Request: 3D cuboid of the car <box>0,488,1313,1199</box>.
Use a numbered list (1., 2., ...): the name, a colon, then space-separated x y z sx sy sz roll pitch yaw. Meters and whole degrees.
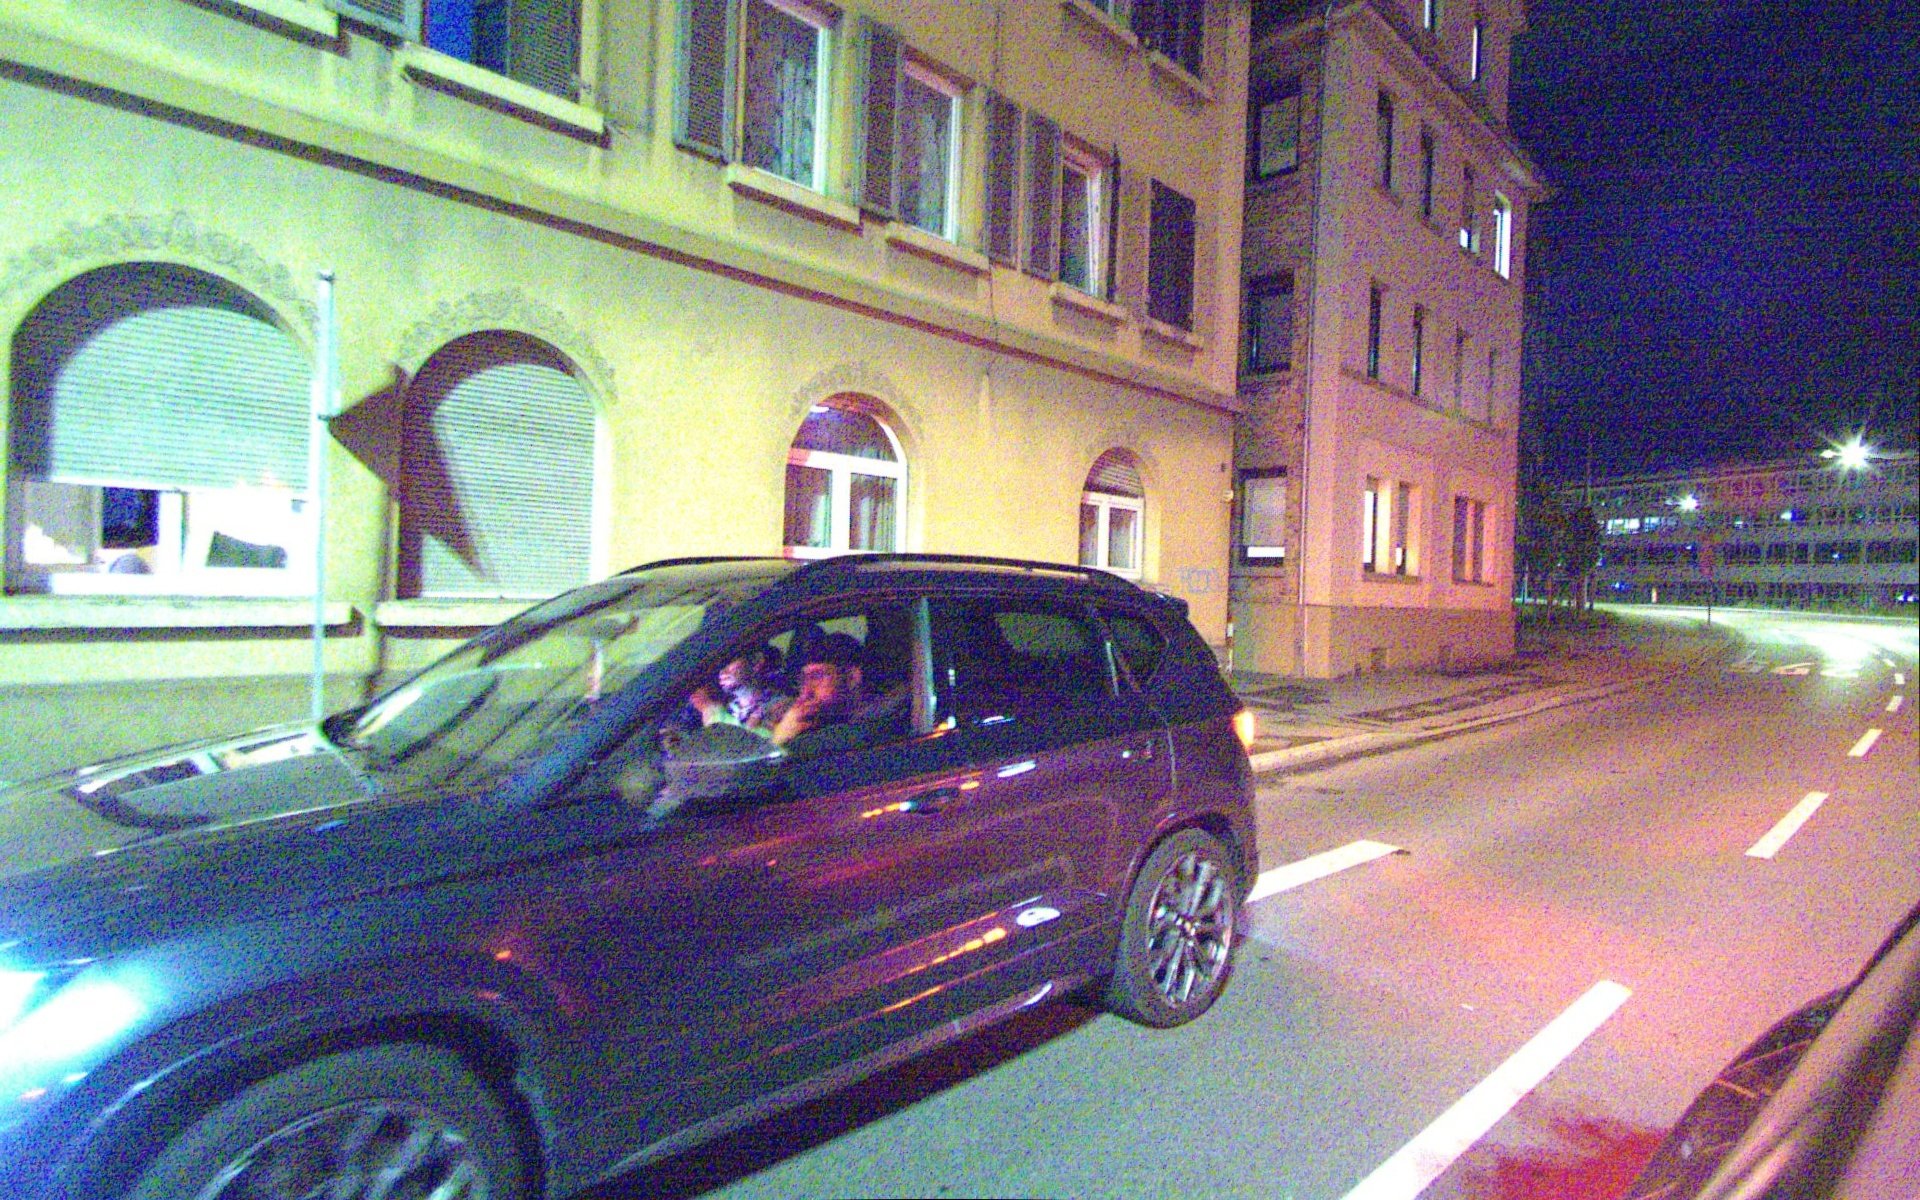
1. car: -0.675 0.615 3.168 4.159 1.630 1.671 -1 2 -44
